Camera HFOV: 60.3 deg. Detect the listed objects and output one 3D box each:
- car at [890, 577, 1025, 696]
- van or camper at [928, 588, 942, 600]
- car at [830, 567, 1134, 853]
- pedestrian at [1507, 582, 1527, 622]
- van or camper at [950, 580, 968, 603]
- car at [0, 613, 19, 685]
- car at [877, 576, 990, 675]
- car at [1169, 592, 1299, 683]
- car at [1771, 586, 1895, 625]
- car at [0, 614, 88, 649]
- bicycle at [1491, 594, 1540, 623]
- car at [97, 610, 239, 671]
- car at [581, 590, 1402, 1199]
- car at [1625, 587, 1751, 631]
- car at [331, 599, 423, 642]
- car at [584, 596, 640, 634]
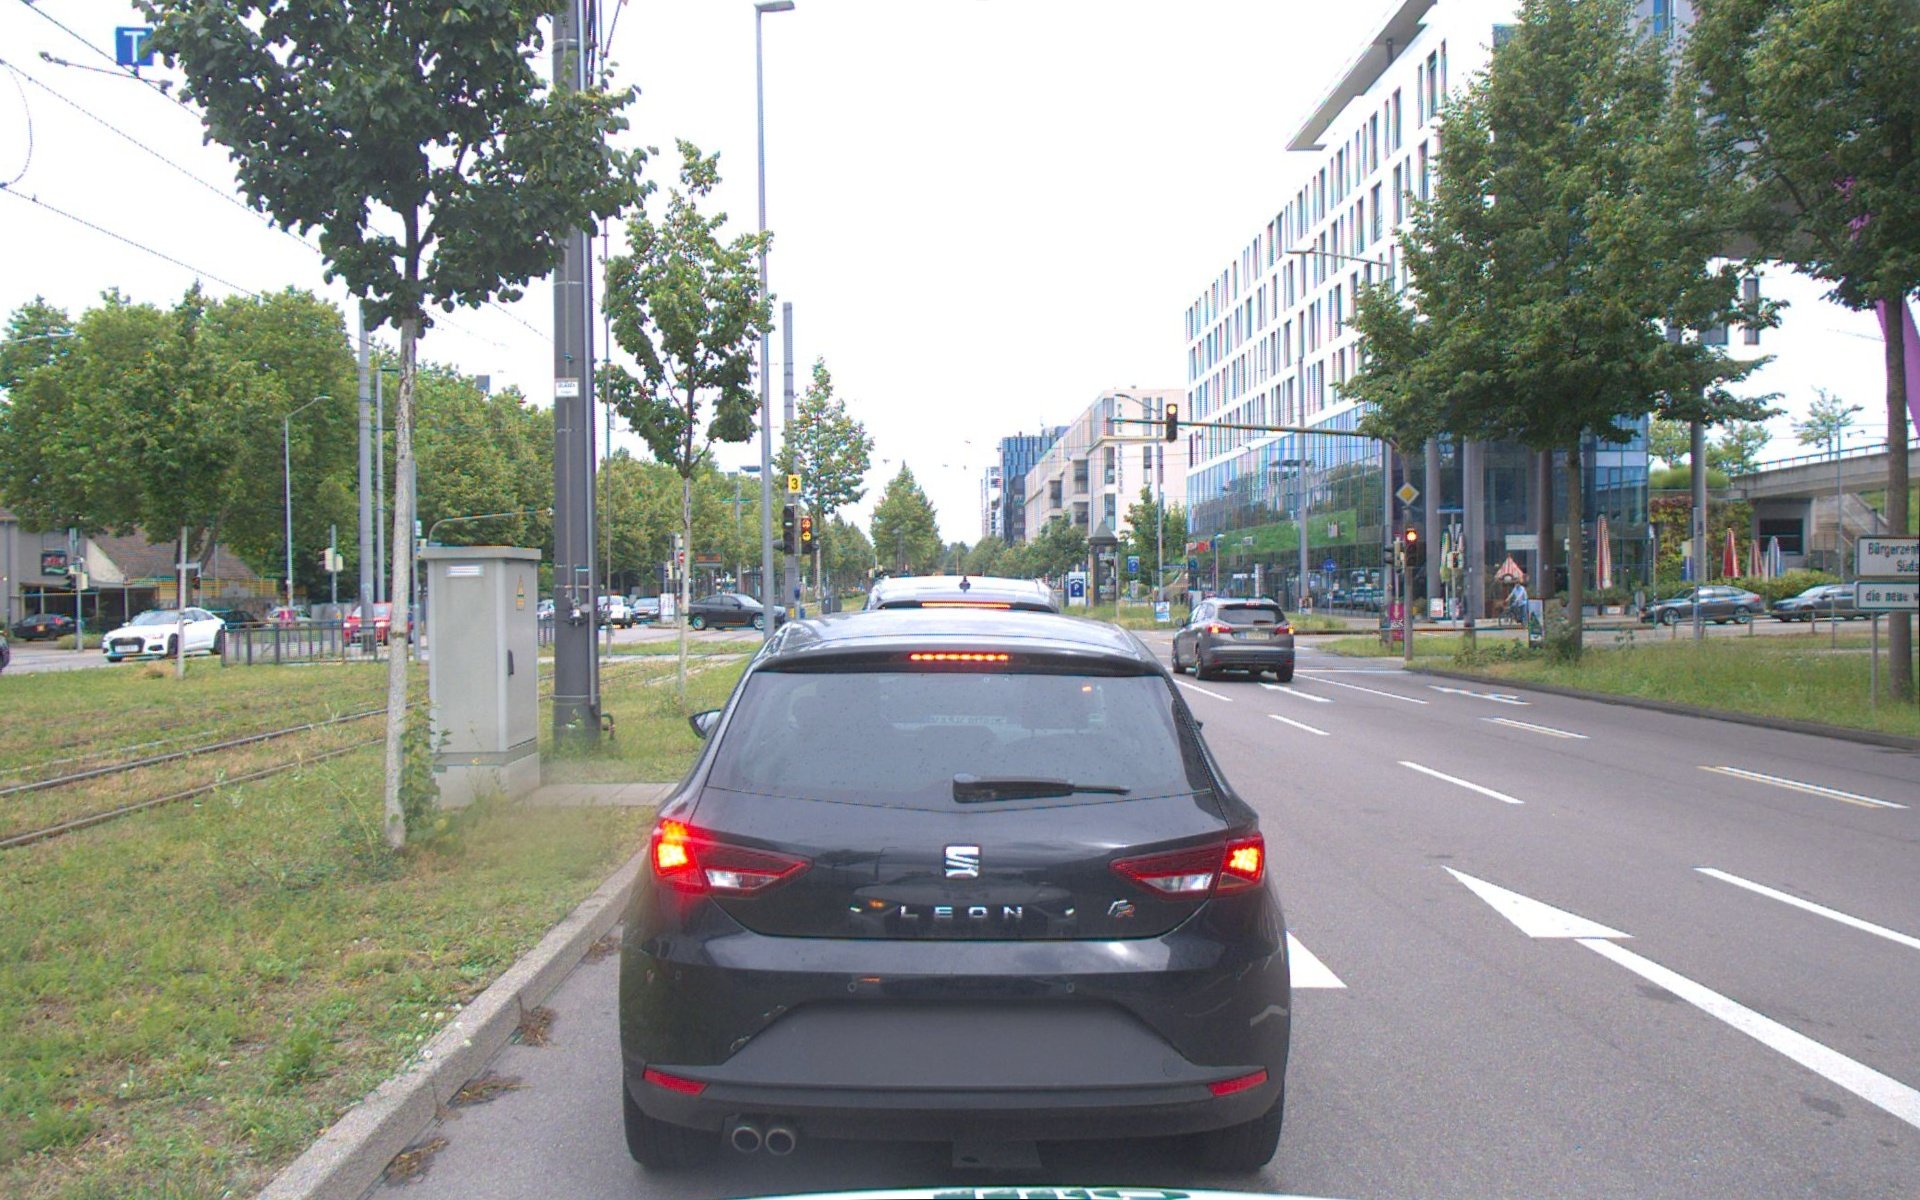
[{"bbox_3d":[0.031,0.515,26.078,1.952,1.711,4.001,1,1,2],"label":"car"},{"bbox_3d":[-3.458,-0.855,232.613,1.953,1.643,4.789,0,2,0],"label":"van or camper"},{"bbox_3d":[0.104,0.630,11.694,1.766,1.653,3.999,-1,0,-1],"label":"car"},{"bbox_3d":[22.426,0.076,66.625,0.602,1.632,0.619,-1,0,1],"label":"pedestrian"},{"bbox_3d":[-0.156,-0.974,188.245,2.066,2.397,4.923,0,2,0],"label":"van or camper"},{"bbox_3d":[-19.804,0.996,31.286,1.765,1.401,4.056,-1,0,-2],"label":"car"},{"bbox_3d":[-0.427,0.425,31.133,1.952,1.711,4.001,1,1,1],"label":"car"},{"bbox_3d":[5.126,0.653,31.454,1.712,1.525,4.268,0,1,-1],"label":"car"},{"bbox_3d":[34.430,0.198,65.293,3.996,1.480,1.758,-1,0,1],"label":"car"},{"bbox_3d":[-50.466,1.729,90.634,4.190,1.847,2.108,-1,0,3],"label":"car"},{"bbox_3d":[22.372,0.337,66.627,1.755,1.104,0.618,-1,0,1],"label":"bicycle"},{"bbox_3d":[-23.465,1.159,49.227,1.774,1.616,5.077,-1,0,0],"label":"car"},{"bbox_3d":[0.017,0.704,5.467,1.708,1.442,3.999,1,0,-2],"label":"car"},{"bbox_3d":[28.522,0.350,64.884,4.163,1.643,1.758,-1,0,1],"label":"car"},{"bbox_3d":[-20.423,0.703,58.099,1.775,1.401,4.268,-1,0,-2],"label":"car"},{"bbox_3d":[-16.908,0.698,80.526,1.953,1.780,4.199,-1,0,-2],"label":"car"}]
